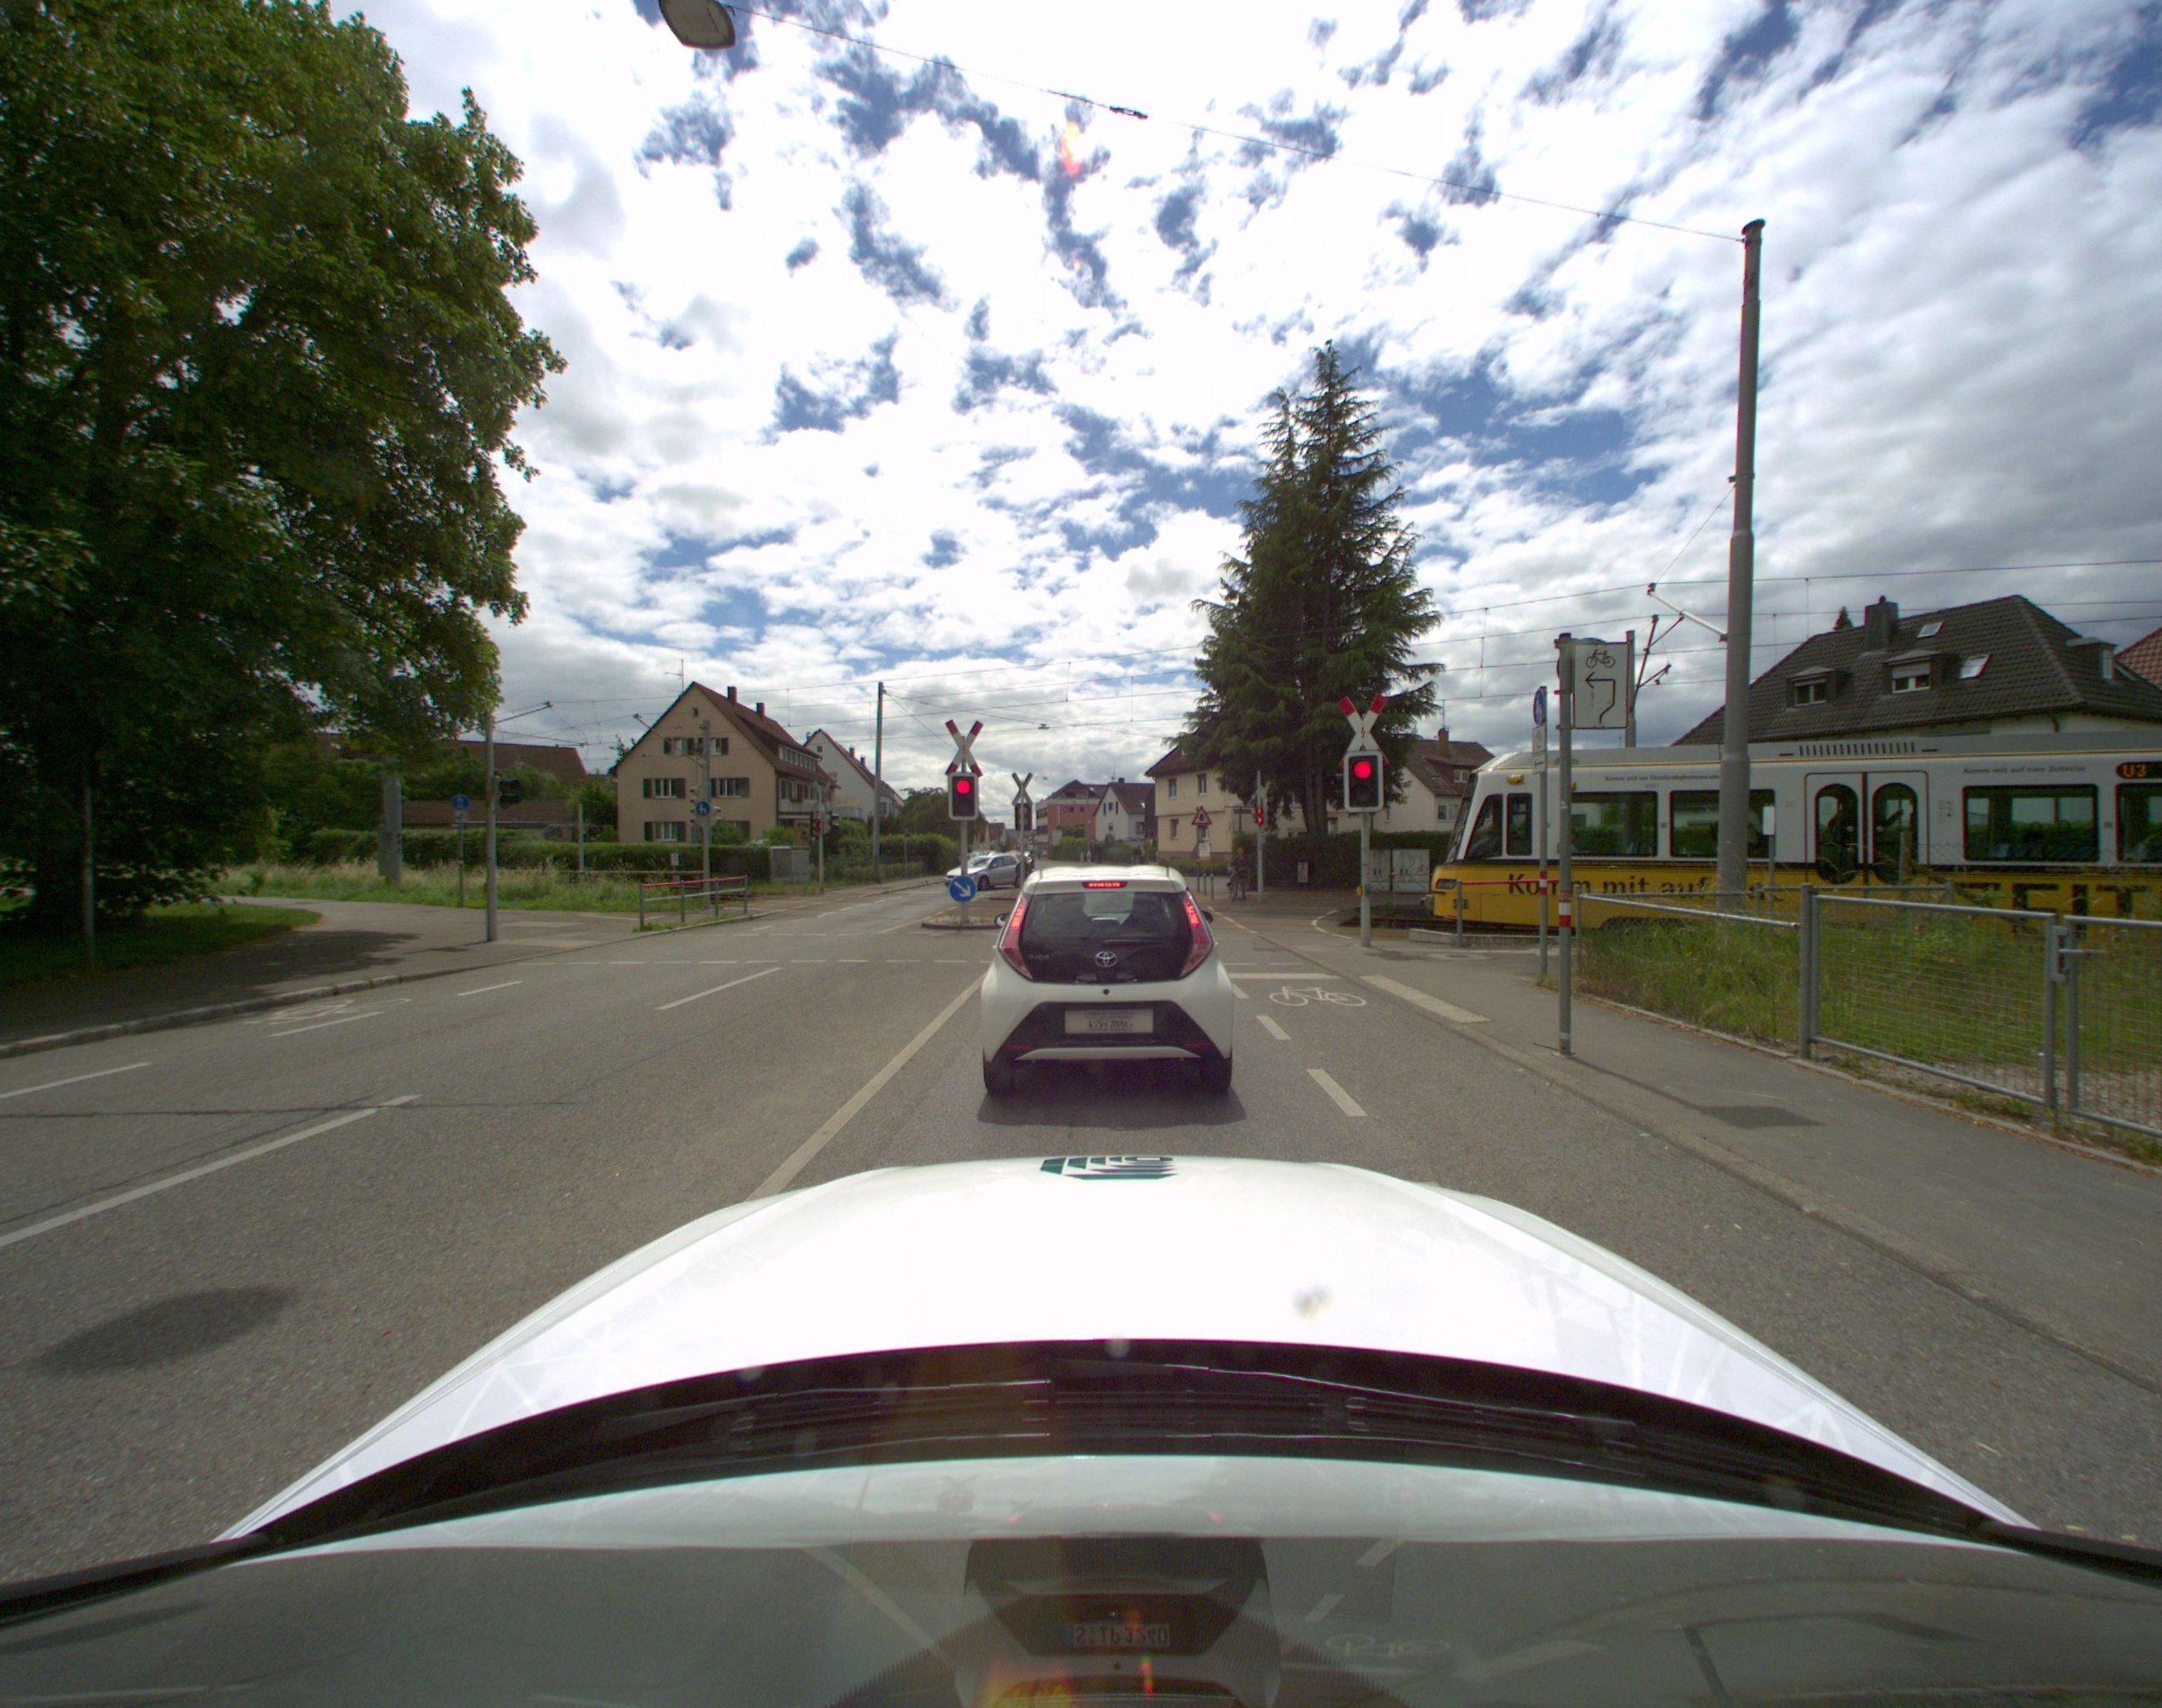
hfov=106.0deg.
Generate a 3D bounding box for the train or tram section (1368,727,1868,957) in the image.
[{"bbox_3d":[9.832,-0.229,16.027,7.622,3.721,2.886,1,0,24],"label":"train or tram section"}]

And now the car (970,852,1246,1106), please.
[{"bbox_3d":[0.223,0.758,6.835,1.615,1.486,4.001,-1,-1,2],"label":"car"}]

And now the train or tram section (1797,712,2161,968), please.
[{"bbox_3d":[16.768,-0.190,12.923,7.622,3.721,2.886,1,0,24],"label":"train or tram section"}]

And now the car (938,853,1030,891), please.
[{"bbox_3d":[-4.076,0.733,34.691,1.672,1.458,4.095,-2,0,31],"label":"car"}]

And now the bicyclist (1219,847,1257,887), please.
[{"bbox_3d":[5.066,0.425,26.243,0.923,1.247,1.108,-2,0,23],"label":"bicyclist"}]

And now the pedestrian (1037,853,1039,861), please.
[{"bbox_3d":[-7.696,0.483,145.723,0.413,1.437,0.436,0,0,-9],"label":"pedestrian"}]

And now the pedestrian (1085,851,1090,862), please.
[{"bbox_3d":[0.793,0.299,99.225,0.409,1.437,0.440,0,0,28],"label":"pedestrian"}]

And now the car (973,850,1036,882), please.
[{"bbox_3d":[-3.806,0.595,40.814,1.560,1.510,2.804,0,-1,44],"label":"car"}]

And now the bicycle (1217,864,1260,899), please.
[{"bbox_3d":[5.114,0.873,26.331,0.923,1.040,1.925,-2,0,23],"label":"bicycle"}]
